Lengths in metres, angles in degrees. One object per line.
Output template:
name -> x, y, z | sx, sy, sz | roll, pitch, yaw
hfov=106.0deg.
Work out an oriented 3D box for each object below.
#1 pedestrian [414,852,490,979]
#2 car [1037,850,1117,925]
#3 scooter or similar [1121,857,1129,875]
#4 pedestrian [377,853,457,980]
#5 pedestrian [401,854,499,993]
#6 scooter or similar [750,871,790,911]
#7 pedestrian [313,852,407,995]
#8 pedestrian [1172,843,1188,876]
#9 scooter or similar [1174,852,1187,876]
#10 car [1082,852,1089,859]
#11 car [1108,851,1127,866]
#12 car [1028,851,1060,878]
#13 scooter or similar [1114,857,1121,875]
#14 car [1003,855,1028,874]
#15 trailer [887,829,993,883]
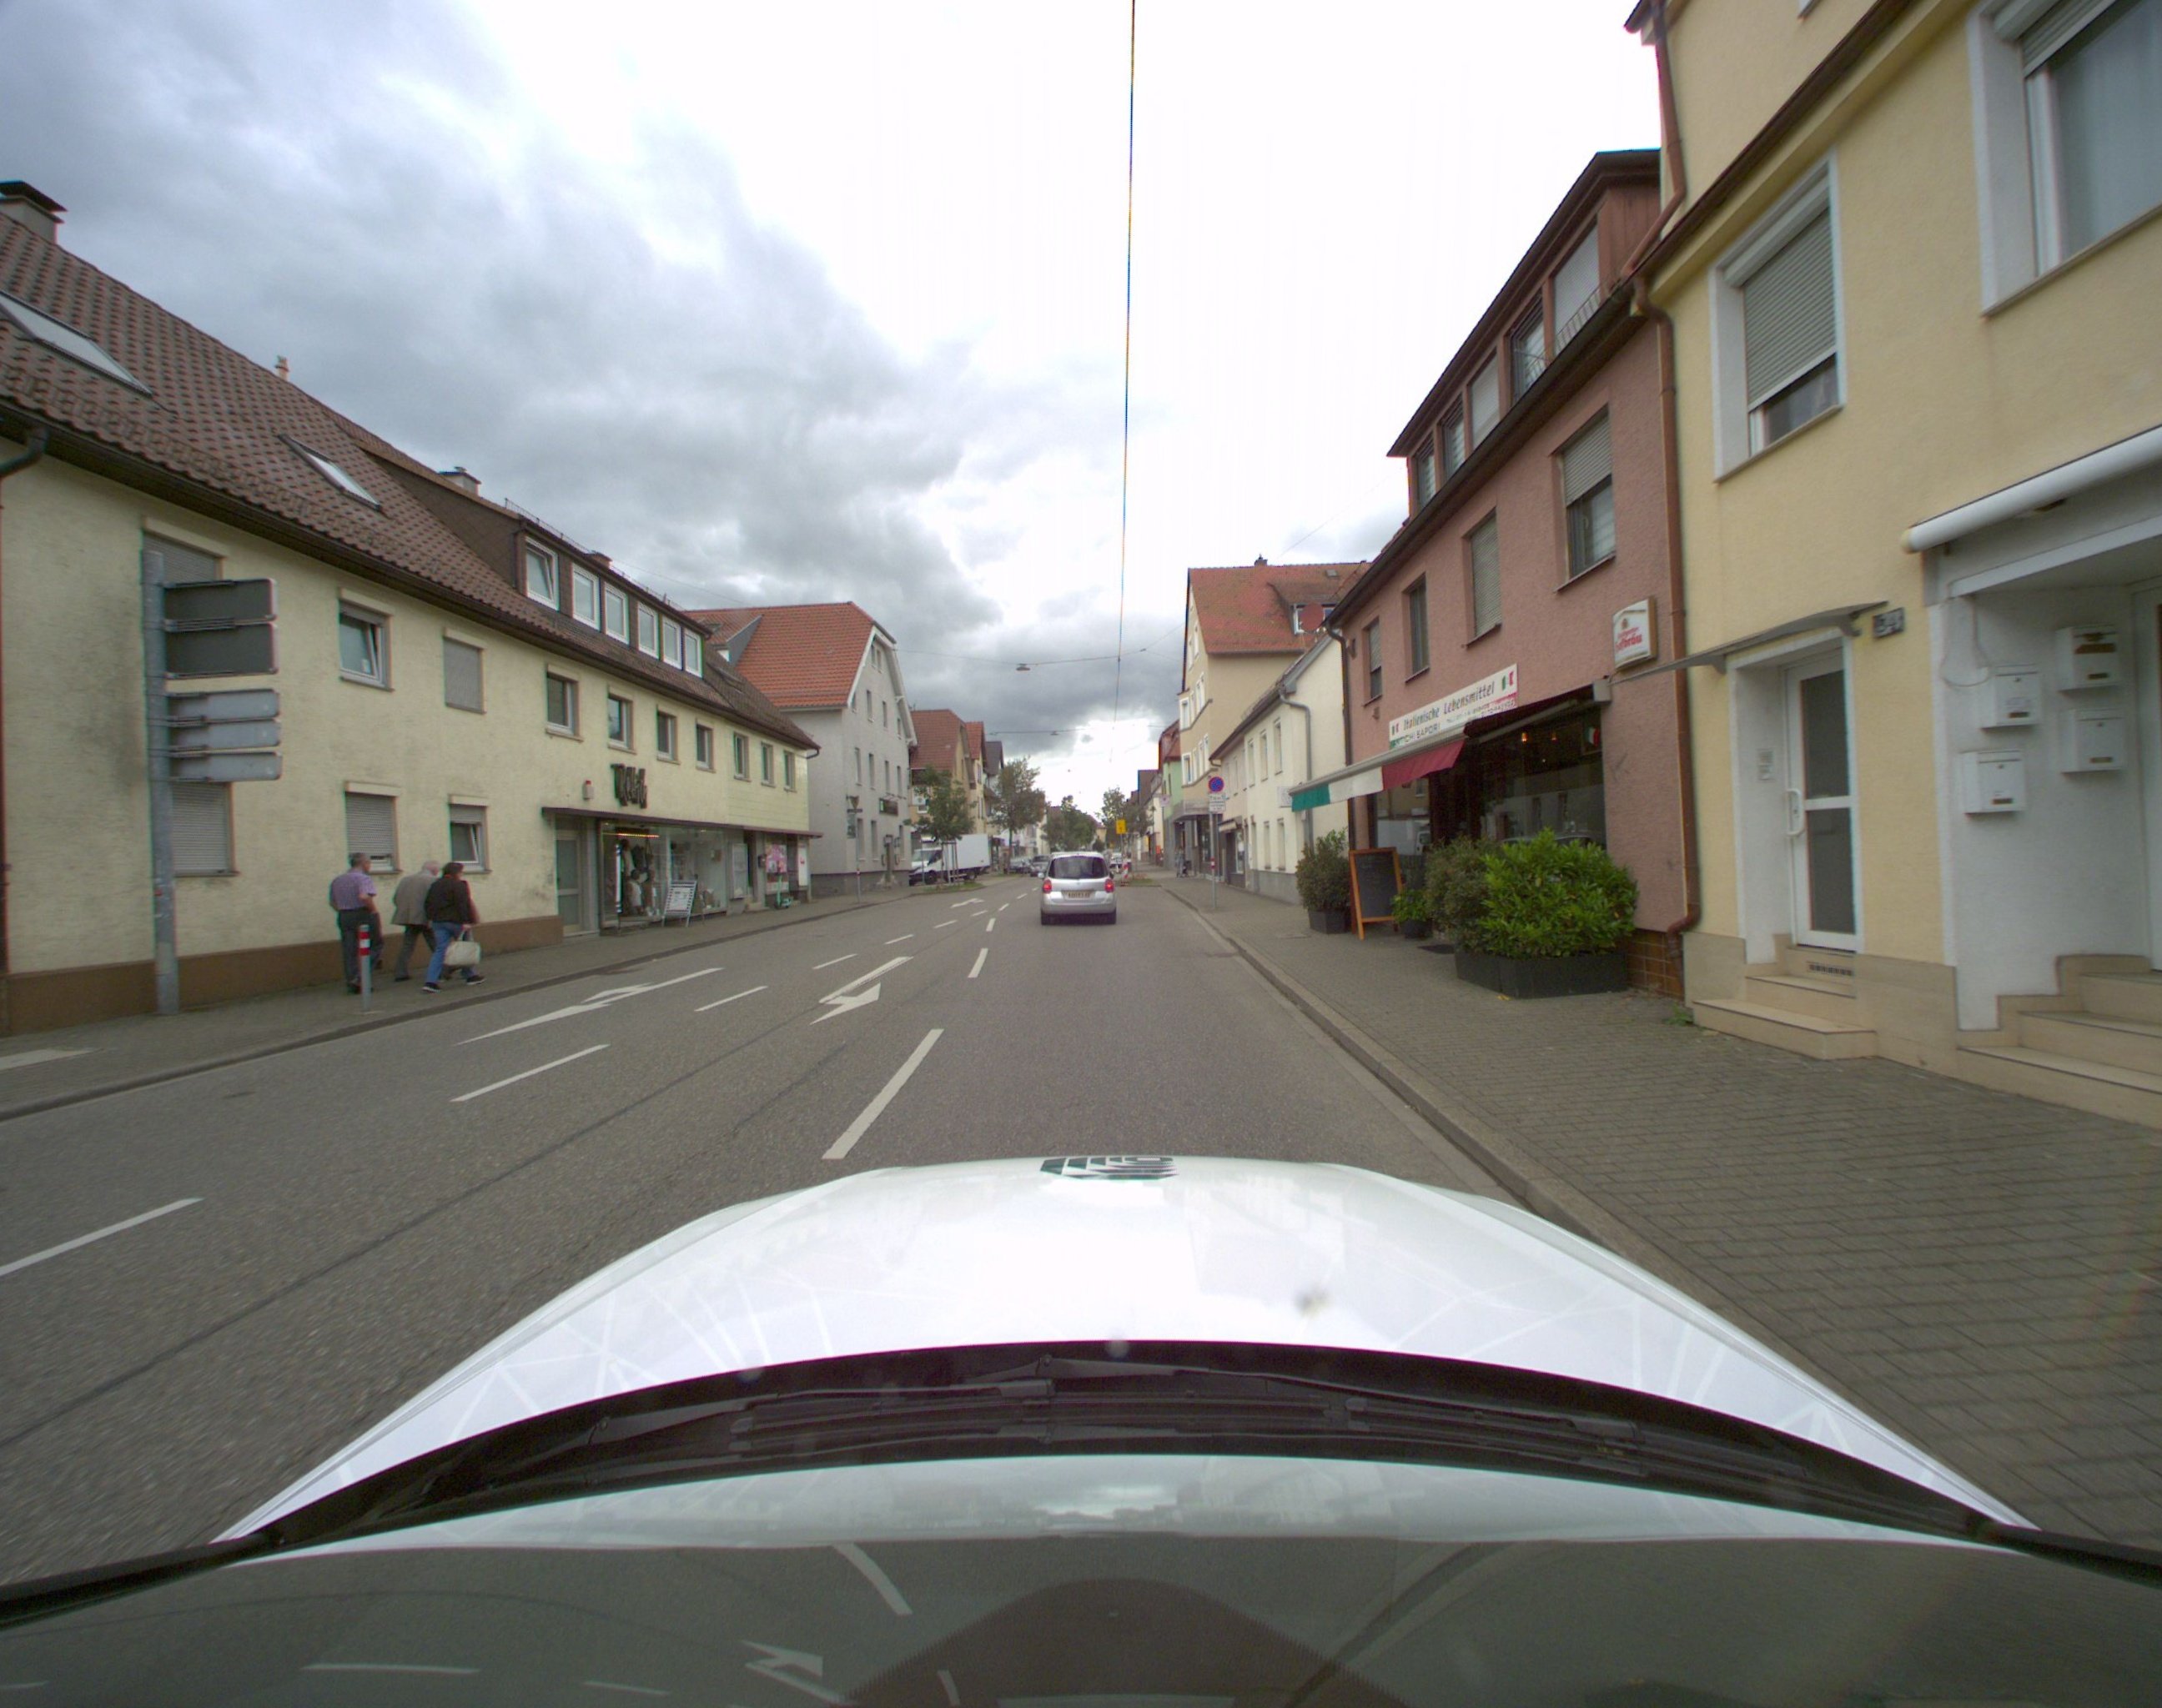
pedestrian -> -8.852, 0.842, 11.478 | 0.494, 1.737, 0.648 | -2, 0, 1
car -> 0.003, 0.716, 19.088 | 1.675, 1.566, 3.996 | 0, 0, 2
scooter or similar -> 3.156, 0.836, 58.517 | 0.500, 1.235, 1.943 | -1, 0, 1
pedestrian -> -9.404, 0.863, 11.553 | 0.551, 1.737, 0.648 | -2, 0, 1
pedestrian -> -8.289, 0.885, 10.723 | 0.675, 1.737, 0.717 | -2, 0, 1
scooter or similar -> -9.742, 1.151, 25.563 | 0.526, 1.170, 1.722 | -1, 0, 2
pedestrian -> -9.122, 0.855, 10.320 | 0.551, 1.737, 0.648 | -2, 0, 1
pedestrian -> 5.226, 0.274, 42.855 | 0.747, 1.720, 0.900 | -1, 0, 2
scooter or similar -> 5.341, 0.527, 43.803 | 0.587, 1.233, 0.891 | -1, 0, 1
car -> 1.248, 0.334, 225.240 | 1.893, 1.737, 4.368 | -3, 0, 2
car -> 3.642, 0.484, 81.292 | 1.824, 1.446, 4.334 | 0, 0, 2
car -> -2.746, 0.765, 61.042 | 1.986, 1.796, 4.278 | -3, 0, 1
scooter or similar -> 2.624, 0.843, 58.519 | 0.500, 1.235, 1.943 | -1, 0, 1
car -> -5.469, 0.838, 68.285 | 1.676, 1.424, 3.932 | -3, 0, 1
trailer -> -8.889, 0.144, 52.261 | 2.479, 3.219, 7.180 | -1, 0, 33
